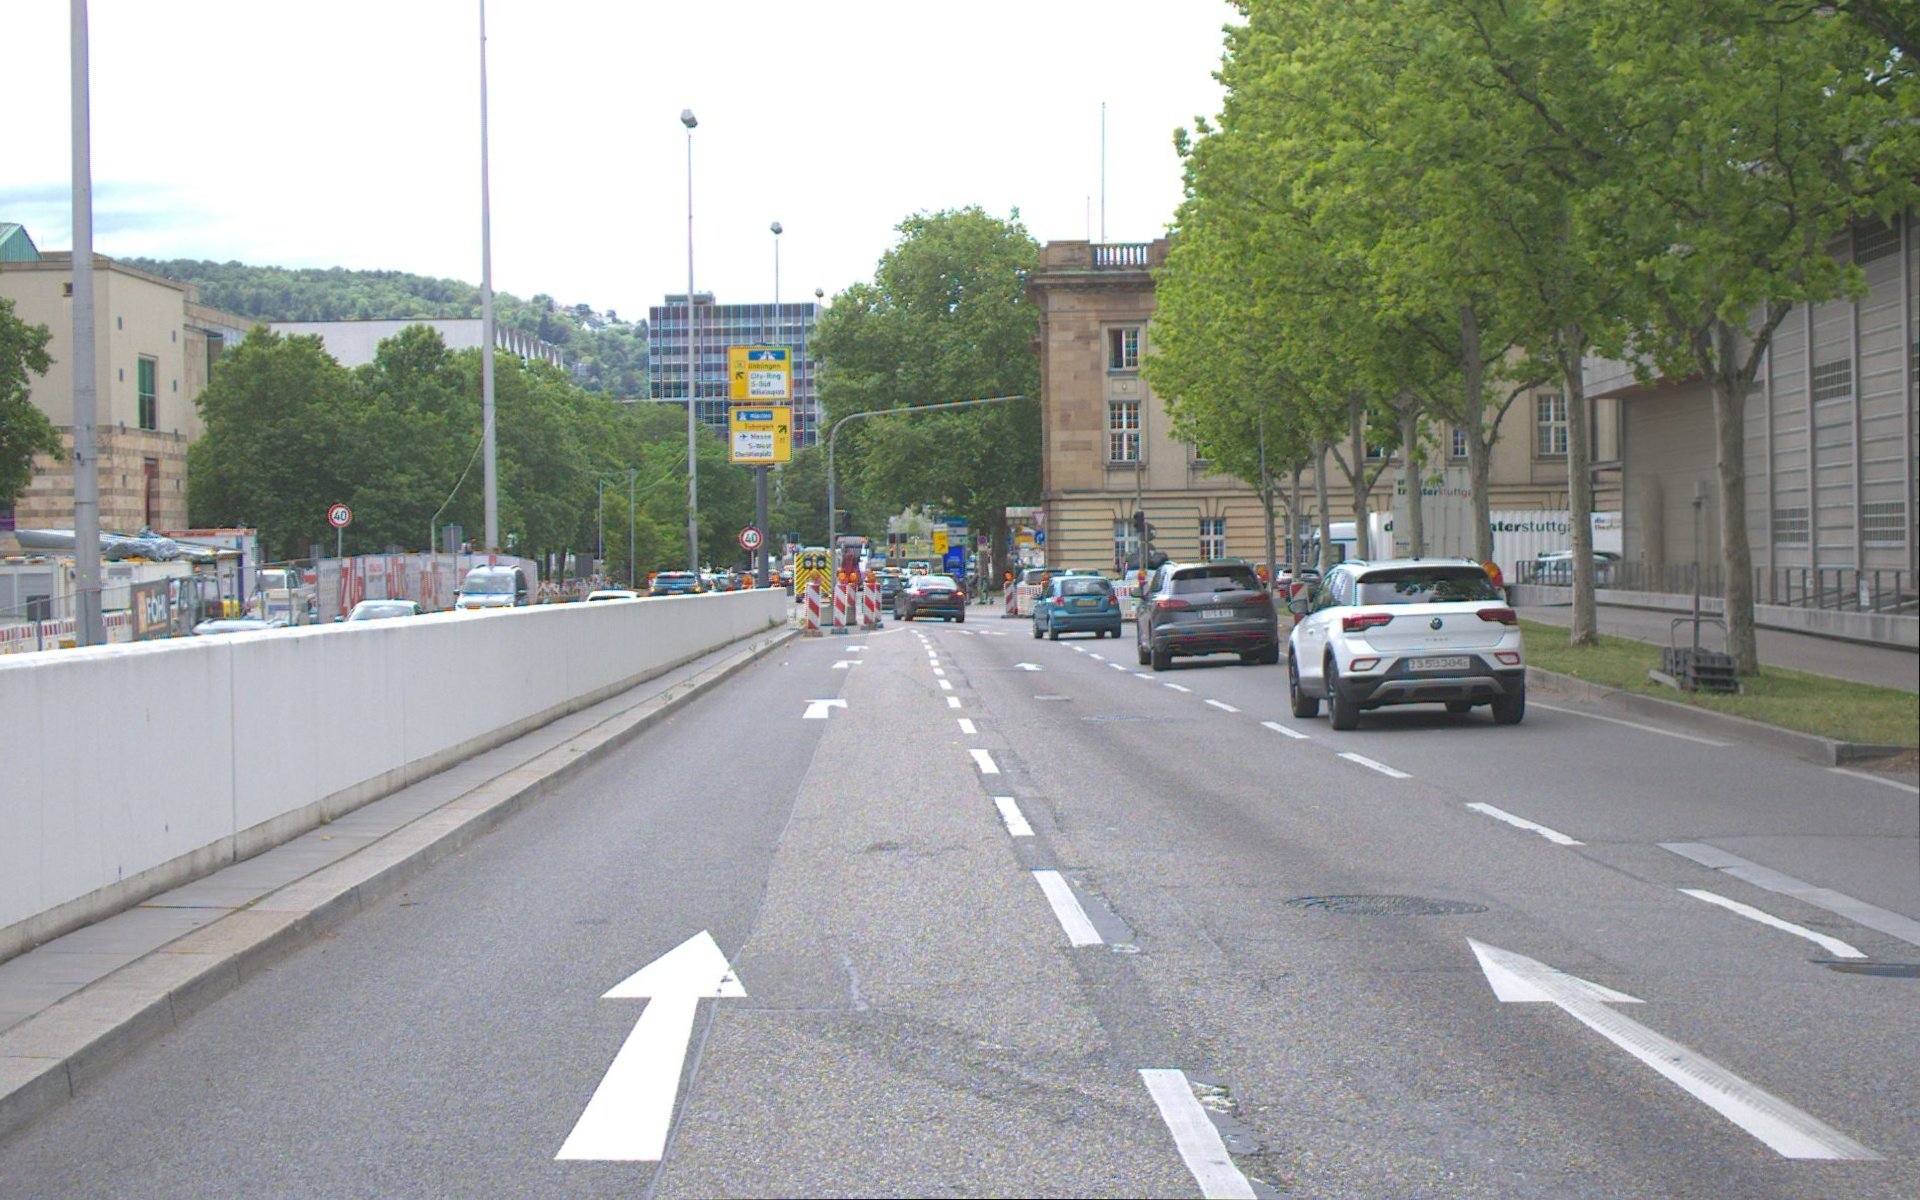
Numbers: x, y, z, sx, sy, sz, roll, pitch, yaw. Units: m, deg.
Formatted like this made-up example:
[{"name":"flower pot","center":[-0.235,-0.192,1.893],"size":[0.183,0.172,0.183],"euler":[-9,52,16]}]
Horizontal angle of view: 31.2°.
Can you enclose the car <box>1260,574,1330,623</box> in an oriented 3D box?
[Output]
[{"name":"car","center":[11.041,-0.024,113.555],"size":[1.856,1.562,4.331],"euler":[0,-1,0]}]

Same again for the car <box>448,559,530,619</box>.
[{"name":"car","center":[-13.315,-0.308,97.373],"size":[1.750,1.562,3.377],"euler":[-3,0,0]}]

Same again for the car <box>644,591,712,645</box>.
[{"name":"car","center":[-8.834,0.547,107.887],"size":[1.750,1.562,3.377],"euler":[-3,0,0]}]

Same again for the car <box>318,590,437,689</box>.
[{"name":"car","center":[-12.885,0.842,76.233],"size":[1.993,2.006,4.001],"euler":[-1,2,-1]}]

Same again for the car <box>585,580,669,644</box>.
[{"name":"car","center":[-8.294,0.284,85.762],"size":[1.750,1.562,3.377],"euler":[0,0,0]}]

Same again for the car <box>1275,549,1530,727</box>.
[{"name":"car","center":[4.188,0.311,33.127],"size":[1.750,1.562,4.332],"euler":[-1,1,-2]}]

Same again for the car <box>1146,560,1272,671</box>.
[{"name":"car","center":[3.900,0.211,54.407],"size":[1.823,1.562,4.479],"euler":[-3,1,3]}]

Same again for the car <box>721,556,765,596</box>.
[{"name":"car","center":[-8.949,-0.971,141.790],"size":[1.750,1.562,4.332],"euler":[-1,0,-3]}]

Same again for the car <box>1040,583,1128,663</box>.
[{"name":"car","center":[2.889,0.503,79.272],"size":[1.823,1.735,4.479],"euler":[-1,0,4]}]

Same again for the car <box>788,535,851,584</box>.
[{"name":"car","center":[-7.090,-2.055,173.973],"size":[2.582,2.366,5.526],"euler":[-1,0,4]}]

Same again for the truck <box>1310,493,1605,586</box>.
[{"name":"truck","center":[17.566,-2.128,121.748],"size":[10.029,3.040,2.569],"euler":[-1,-1,0]}]

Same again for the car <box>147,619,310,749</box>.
[{"name":"car","center":[-12.601,1.413,59.420],"size":[1.993,2.006,4.001],"euler":[-1,2,-1]}]

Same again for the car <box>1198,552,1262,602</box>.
[{"name":"car","center":[8.918,-0.742,113.926],"size":[1.750,1.562,4.331],"euler":[0,-1,0]}]

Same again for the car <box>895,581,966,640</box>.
[{"name":"car","center":[-0.885,0.315,106.400],"size":[1.823,1.735,4.479],"euler":[-1,0,4]}]
